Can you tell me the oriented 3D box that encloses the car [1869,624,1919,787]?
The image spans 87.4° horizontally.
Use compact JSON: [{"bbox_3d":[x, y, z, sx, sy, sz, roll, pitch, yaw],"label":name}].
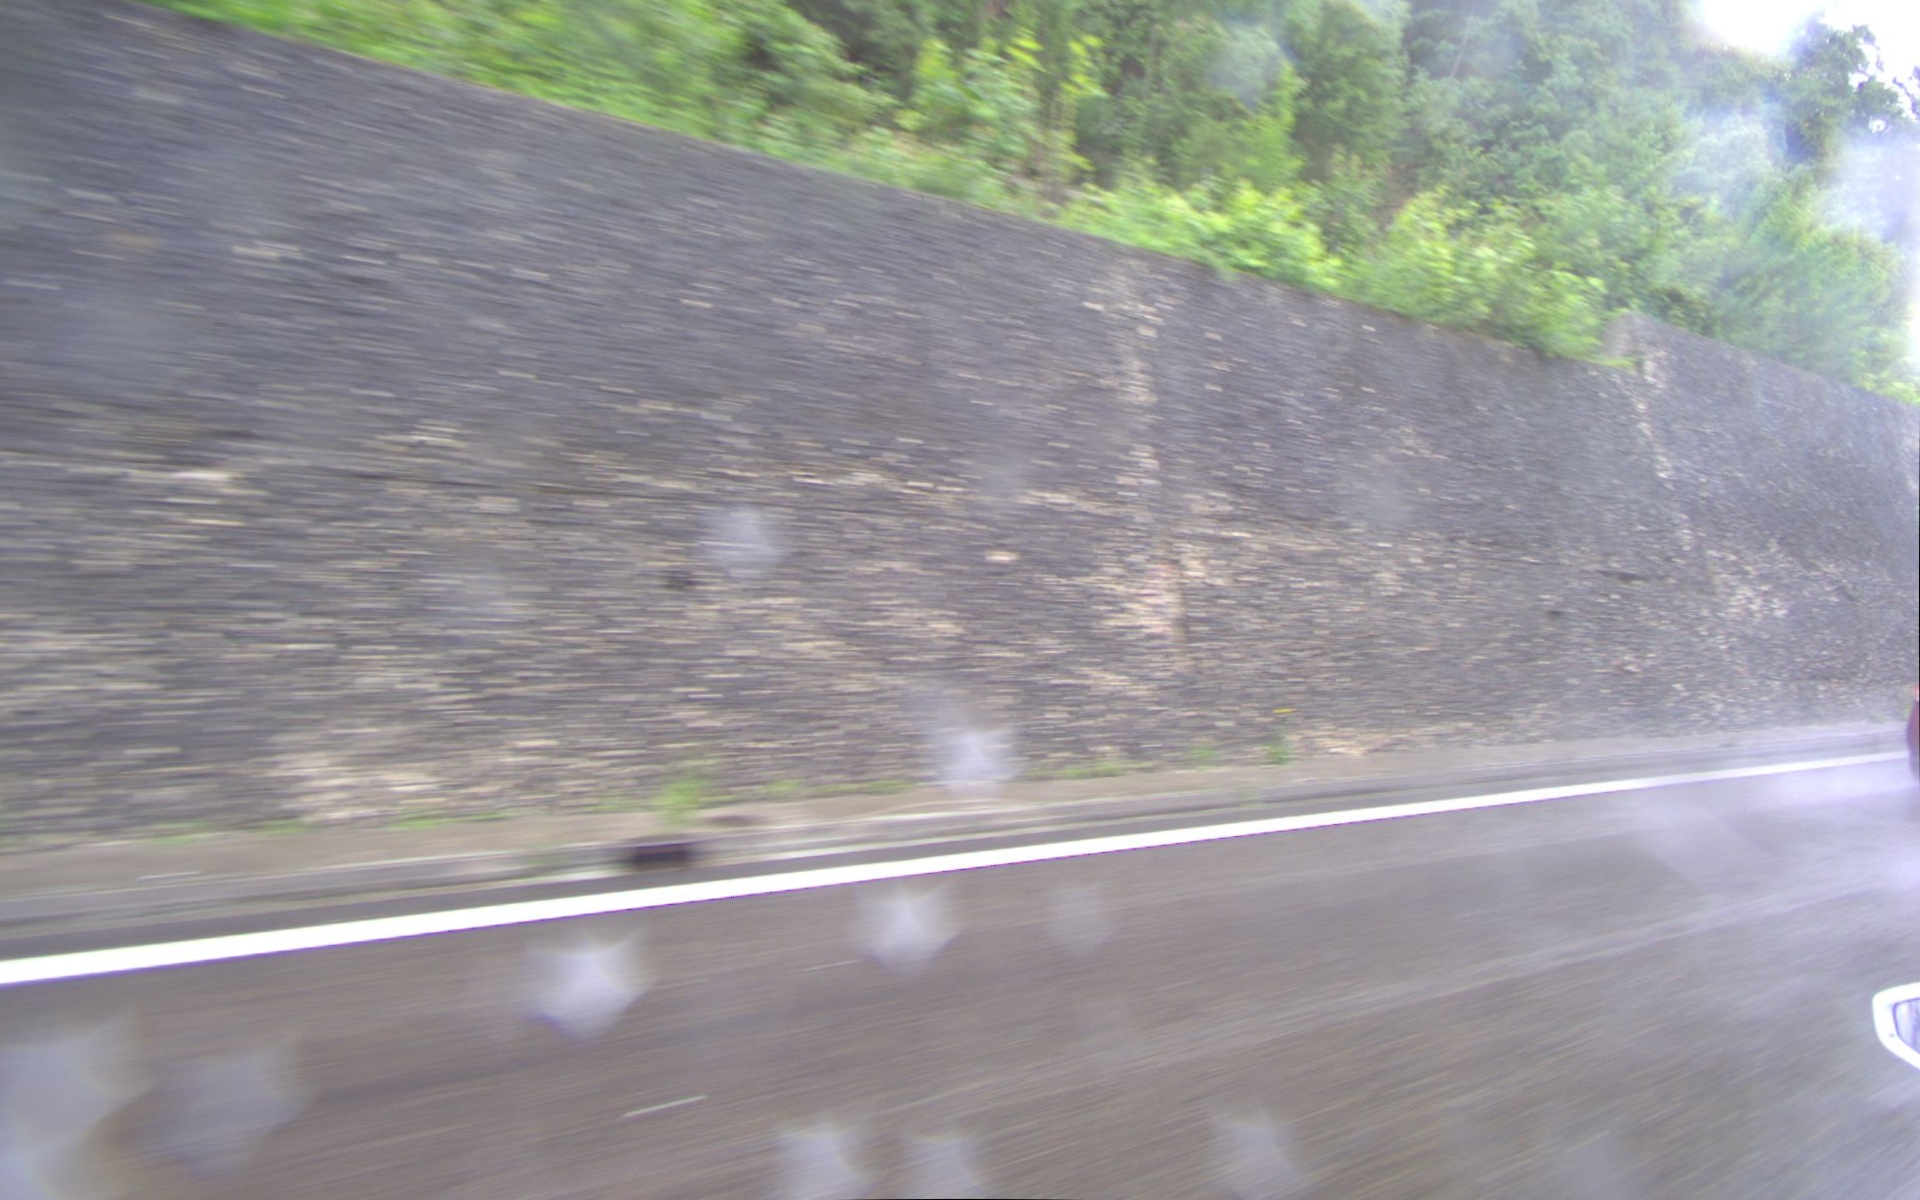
[{"bbox_3d":[11.281,1.061,10.272,3.956,1.572,1.983,2,-1,-32],"label":"car"}]
